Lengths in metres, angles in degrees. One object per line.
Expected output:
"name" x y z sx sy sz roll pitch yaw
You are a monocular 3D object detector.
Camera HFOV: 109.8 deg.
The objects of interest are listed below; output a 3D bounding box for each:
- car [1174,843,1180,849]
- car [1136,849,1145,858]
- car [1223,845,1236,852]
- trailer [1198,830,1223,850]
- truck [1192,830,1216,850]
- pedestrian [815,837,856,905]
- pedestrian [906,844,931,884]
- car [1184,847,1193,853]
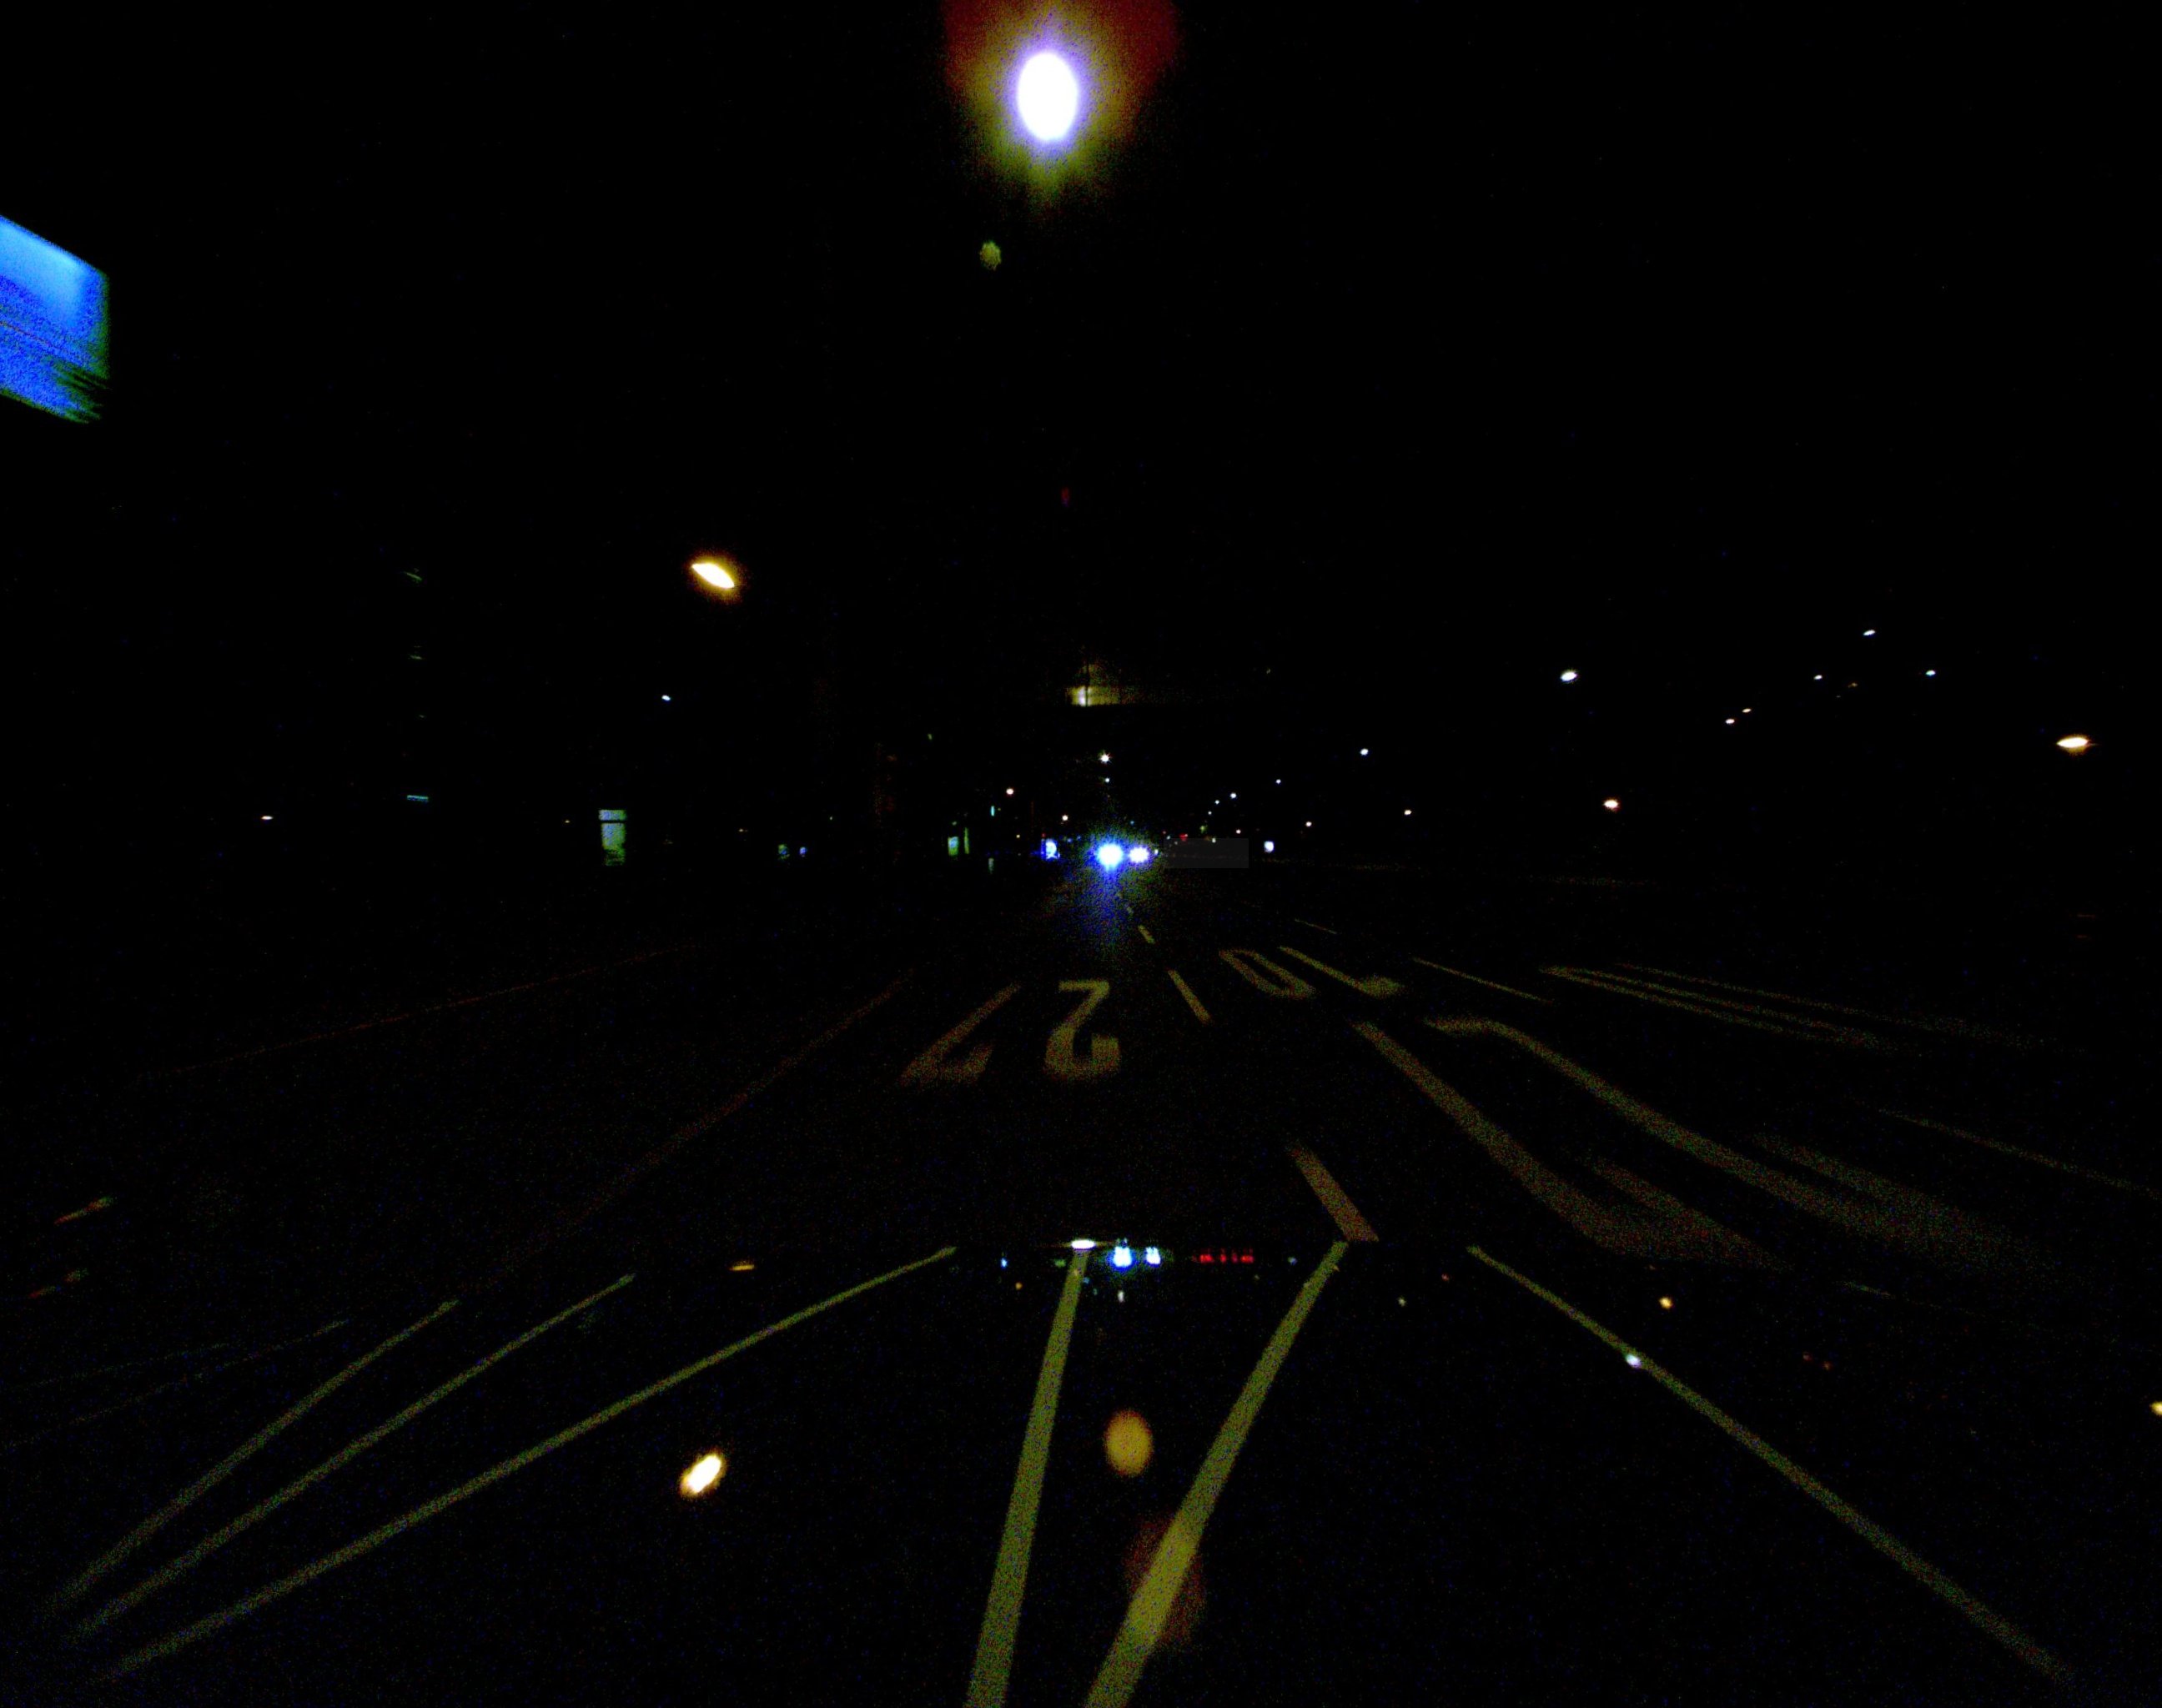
"car" 32.294 -2.596 254.994 1.793 1.896 4.001 -2 1 8
"car" 14.759 -0.162 188.825 1.793 2.002 4.001 -2 1 8
"car" 30.026 -1.100 153.673 1.991 1.473 4.203 -1 1 2
"trailer" 26.695 -2.860 157.270 3.705 3.967 8.394 -2 1 2
"truck" 26.899 -3.099 166.683 3.690 3.932 10.419 -2 1 1
"pedestrian" -7.088 0.486 21.958 0.806 1.902 0.794 2 1 10
"pedestrian" -7.138 0.423 33.323 0.854 1.697 0.957 1 2 1
"car" 26.326 -0.966 186.128 1.808 1.490 4.084 -1 1 0
